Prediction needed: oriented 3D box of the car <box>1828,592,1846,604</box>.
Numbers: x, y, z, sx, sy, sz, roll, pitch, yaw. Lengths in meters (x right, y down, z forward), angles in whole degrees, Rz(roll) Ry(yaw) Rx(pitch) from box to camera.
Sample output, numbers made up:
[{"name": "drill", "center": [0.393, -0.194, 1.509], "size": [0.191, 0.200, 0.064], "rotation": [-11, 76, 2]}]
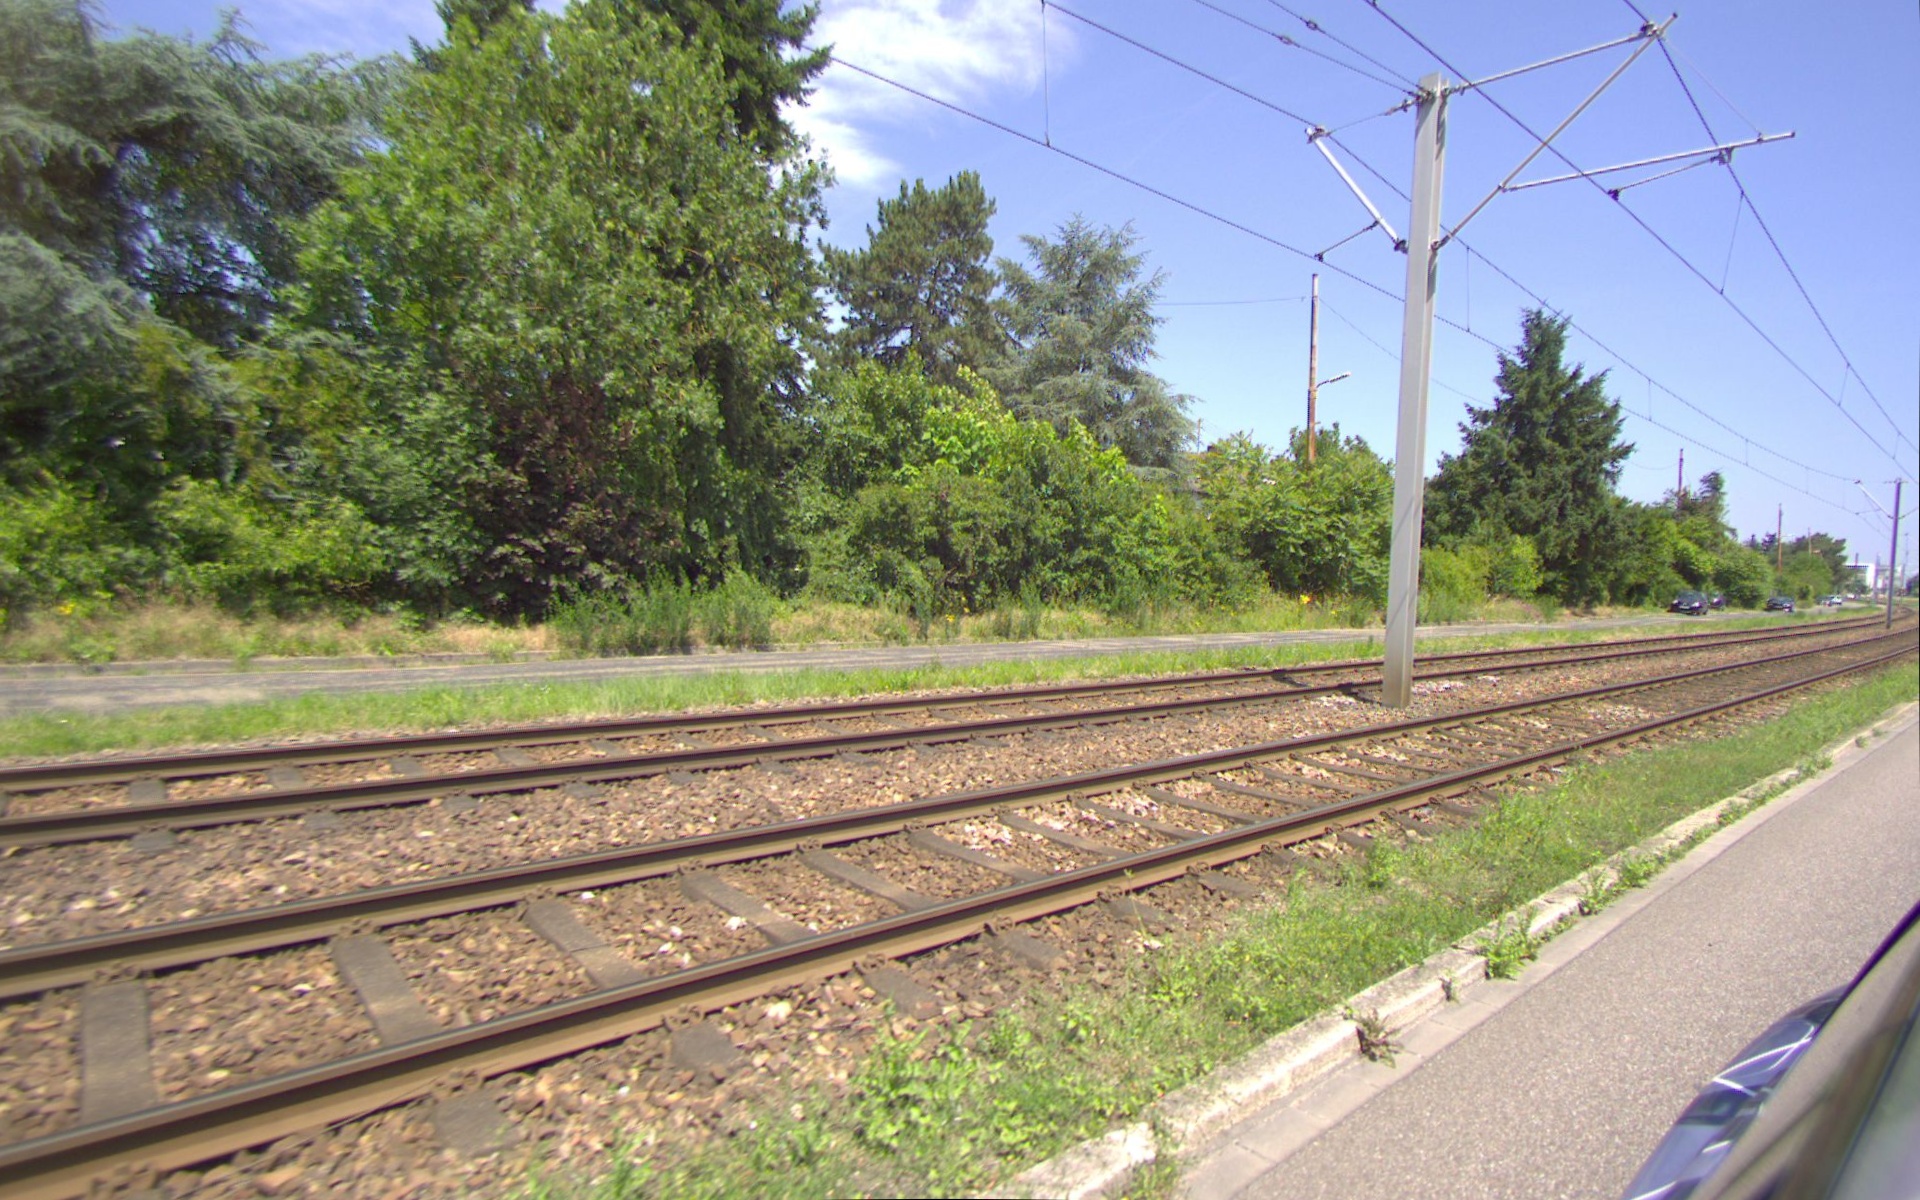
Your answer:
[{"name": "car", "center": [117.378, -0.272, 135.504], "size": [1.620, 1.439, 4.797], "rotation": [3, 2, 43]}]

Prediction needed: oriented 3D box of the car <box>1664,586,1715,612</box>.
[{"name": "car", "center": [45.990, -0.082, 63.791], "size": [3.933, 1.488, 1.916], "rotation": [0, 2, -44]}]

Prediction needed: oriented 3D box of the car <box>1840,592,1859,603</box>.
[{"name": "car", "center": [130.372, -0.390, 148.323], "size": [1.939, 1.439, 3.939], "rotation": [3, 2, 42]}]

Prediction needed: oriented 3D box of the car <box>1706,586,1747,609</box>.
[{"name": "car", "center": [57.656, -0.212, 76.086], "size": [1.935, 1.580, 4.484], "rotation": [3, 2, 44]}]

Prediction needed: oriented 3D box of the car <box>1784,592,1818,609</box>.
[{"name": "car", "center": [70.049, 0.032, 84.305], "size": [1.861, 1.346, 4.444], "rotation": [3, 2, 44]}]
